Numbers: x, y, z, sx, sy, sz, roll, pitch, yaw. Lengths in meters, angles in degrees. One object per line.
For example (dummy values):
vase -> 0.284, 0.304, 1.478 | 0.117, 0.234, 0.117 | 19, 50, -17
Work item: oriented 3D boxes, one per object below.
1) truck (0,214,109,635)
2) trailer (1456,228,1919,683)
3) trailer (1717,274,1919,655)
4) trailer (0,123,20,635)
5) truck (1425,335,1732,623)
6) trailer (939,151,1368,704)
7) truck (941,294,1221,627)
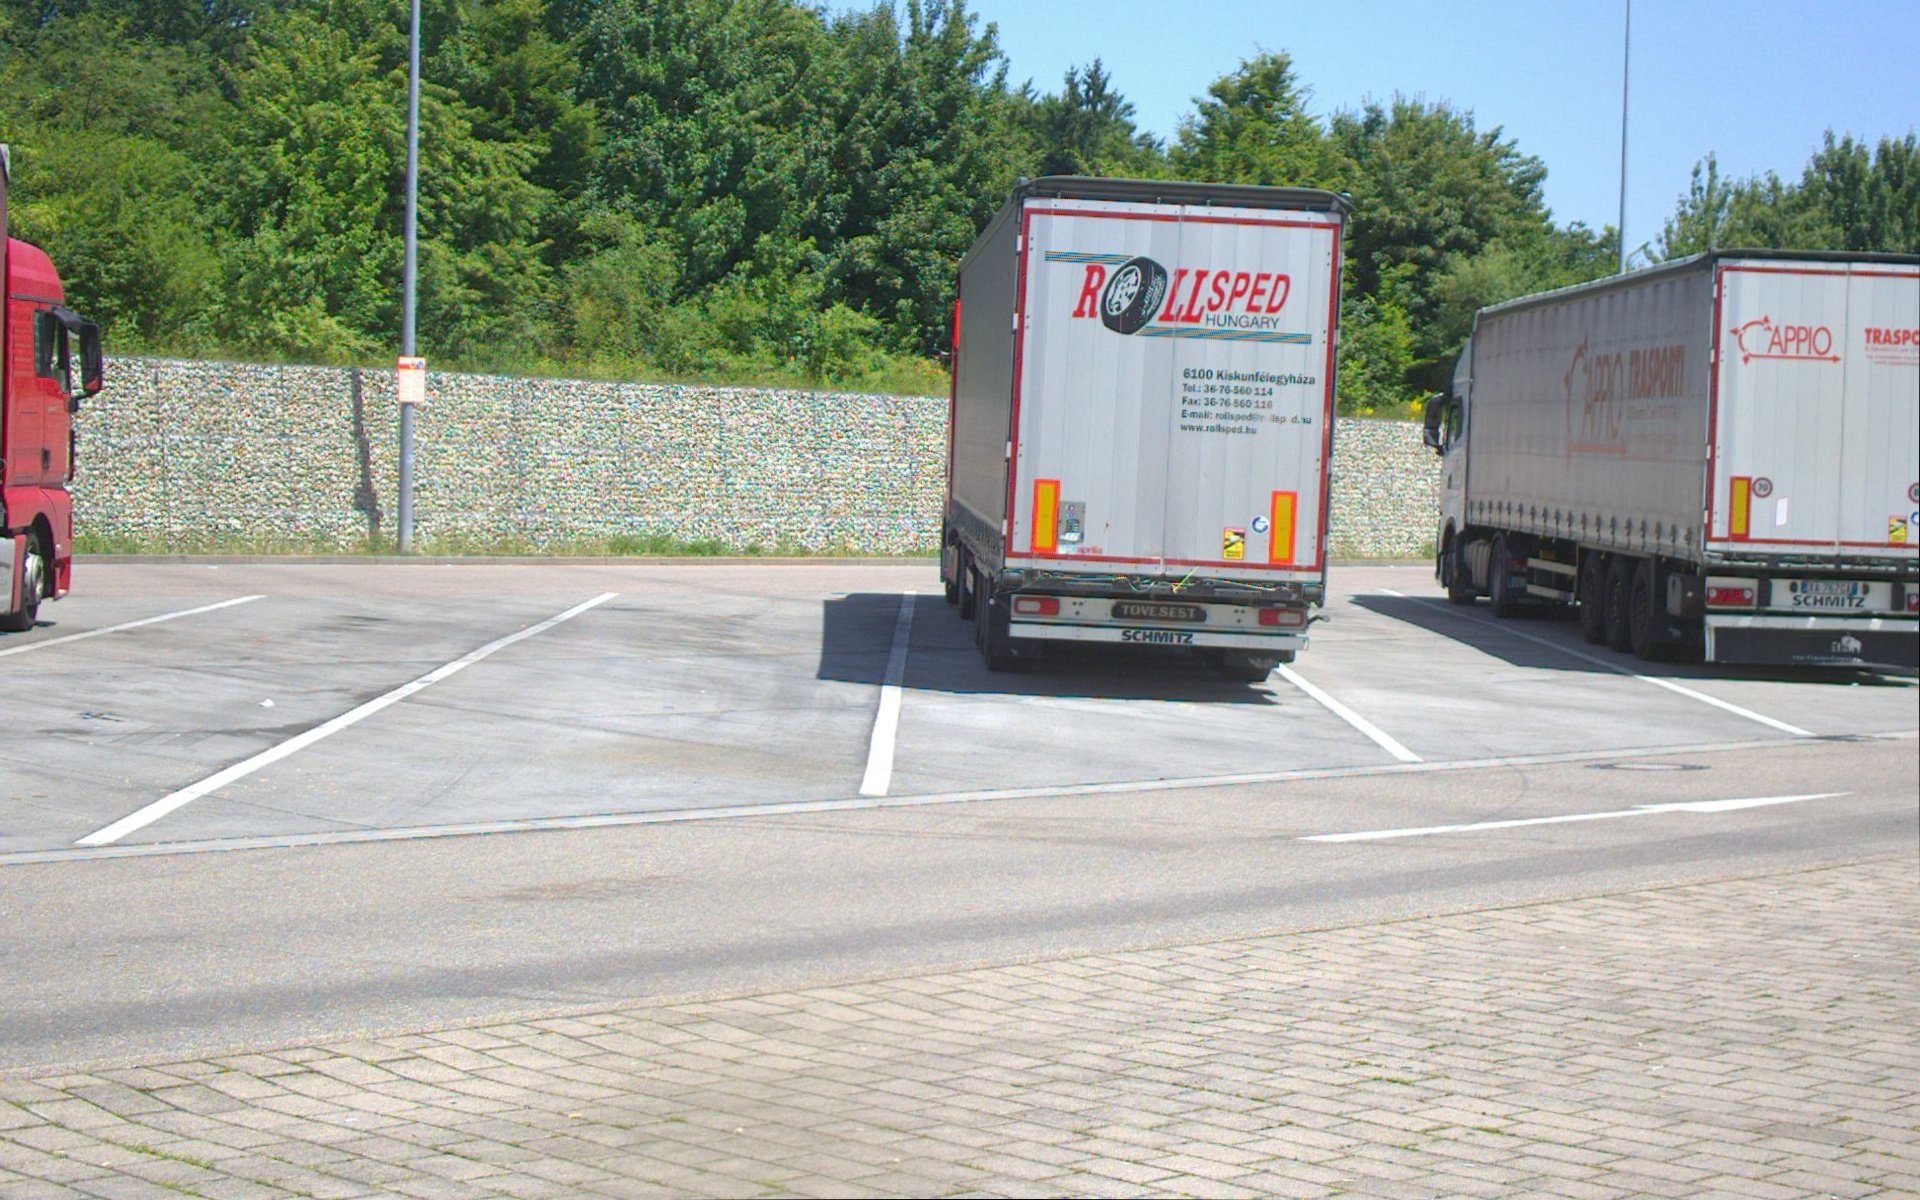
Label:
truck -> -9.239, -1.506, 28.738 | 2.852, 3.416, 5.483 | 2, 2, -1
trailer -> 8.154, -1.624, 38.686 | 2.838, 4.118, 13.724 | 2, 3, -1
trailer -> 11.791, -1.525, 39.439 | 2.838, 4.118, 13.724 | 2, 3, -1
trailer -> -9.148, -1.491, 21.300 | 2.906, 4.118, 13.725 | 2, 3, -1
truck -> 8.061, -1.621, 45.499 | 2.852, 3.472, 5.483 | 2, 2, -1
trailer -> 1.437, -1.620, 33.196 | 2.906, 4.118, 13.725 | 2, 3, -1
truck -> 1.288, -1.627, 39.809 | 2.852, 3.472, 5.483 | 2, 2, -1
